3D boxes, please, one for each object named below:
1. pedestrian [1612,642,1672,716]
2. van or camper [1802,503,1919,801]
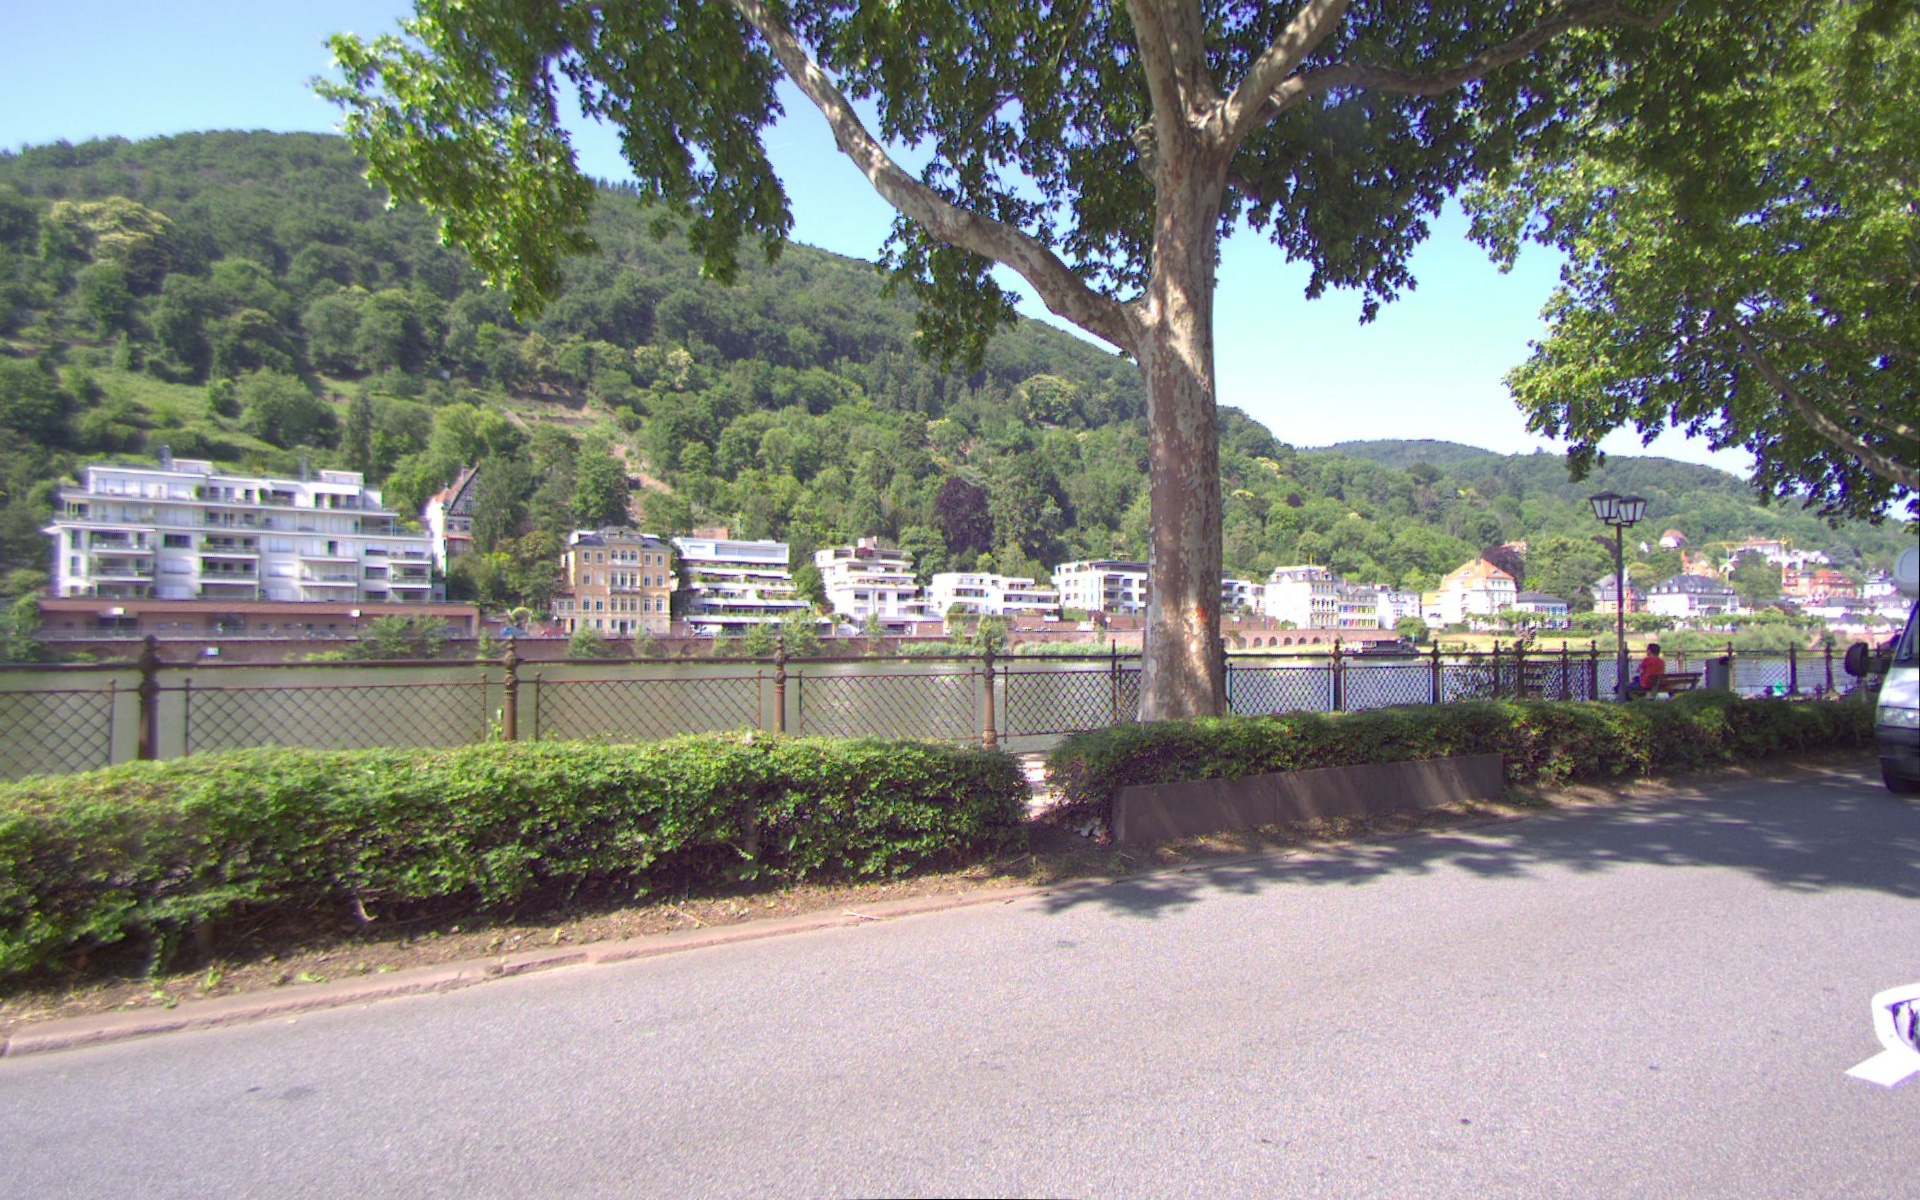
[{"bbox_3d":[12.777,1.472,18.822,0.649,1.325,0.699,2,0,-29],"label":"pedestrian"},{"bbox_3d":[11.532,0.540,10.408,6.192,2.696,2.312,2,-4,-31],"label":"van or camper"}]
